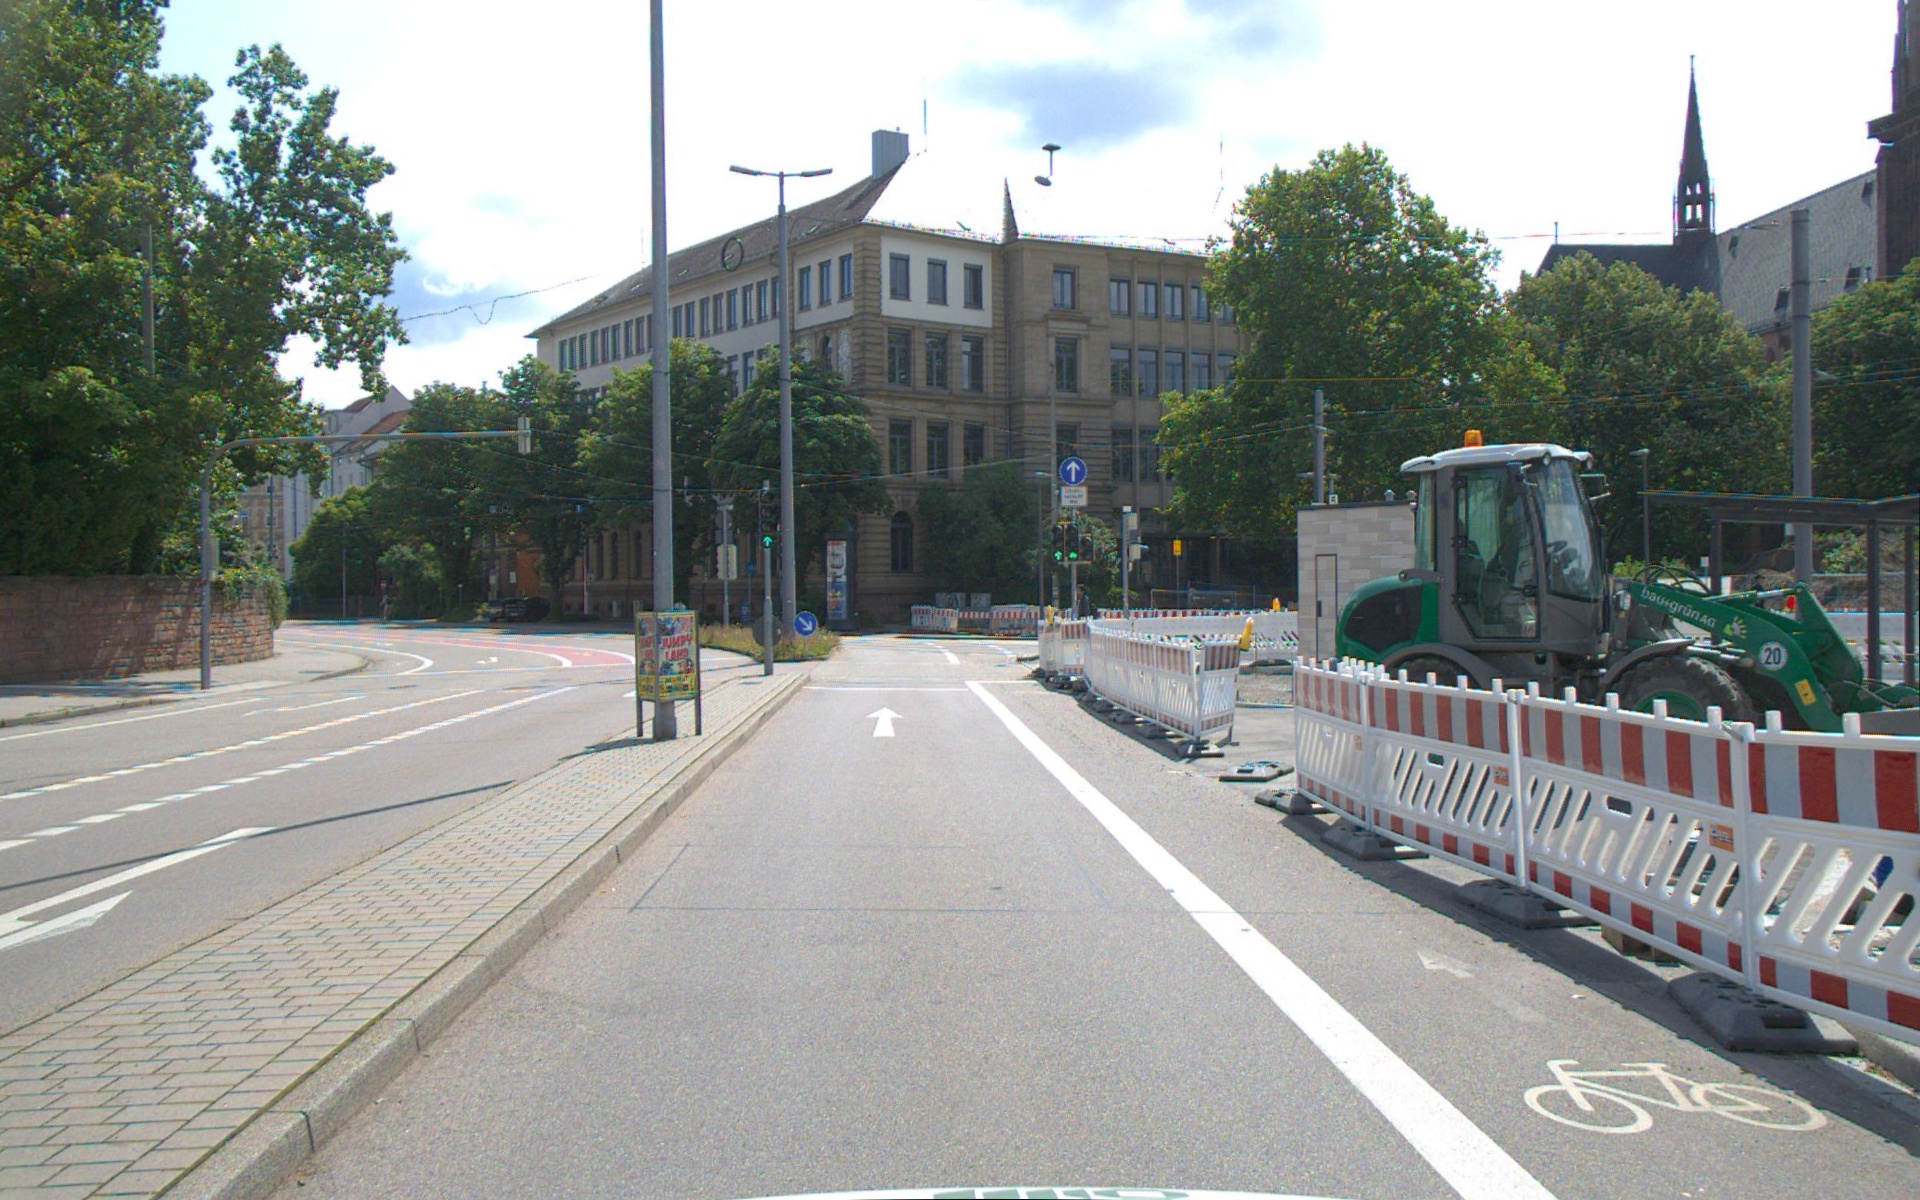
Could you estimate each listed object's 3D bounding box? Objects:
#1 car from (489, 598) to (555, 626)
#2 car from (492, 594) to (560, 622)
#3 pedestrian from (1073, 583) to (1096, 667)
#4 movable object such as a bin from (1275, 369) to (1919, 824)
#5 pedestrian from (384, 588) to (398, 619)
[{"bbox_3d":[-28.180,0.769,106.504,3.913,1.713,1.799,0,0,-9],"label":"car"},{"bbox_3d":[-27.305,0.471,104.129,3.913,1.713,1.799,0,0,-9],"label":"car"},{"bbox_3d":[2.818,0.558,37.402,0.487,1.882,0.529,0,0,8],"label":"pedestrian"},{"bbox_3d":[5.417,-0.037,13.032,5.449,2.935,2.272,0,1,45],"label":"movable object such as a bin"},{"bbox_3d":[-38.067,0.218,110.699,0.689,2.049,0.885,-1,0,-34],"label":"pedestrian"}]
